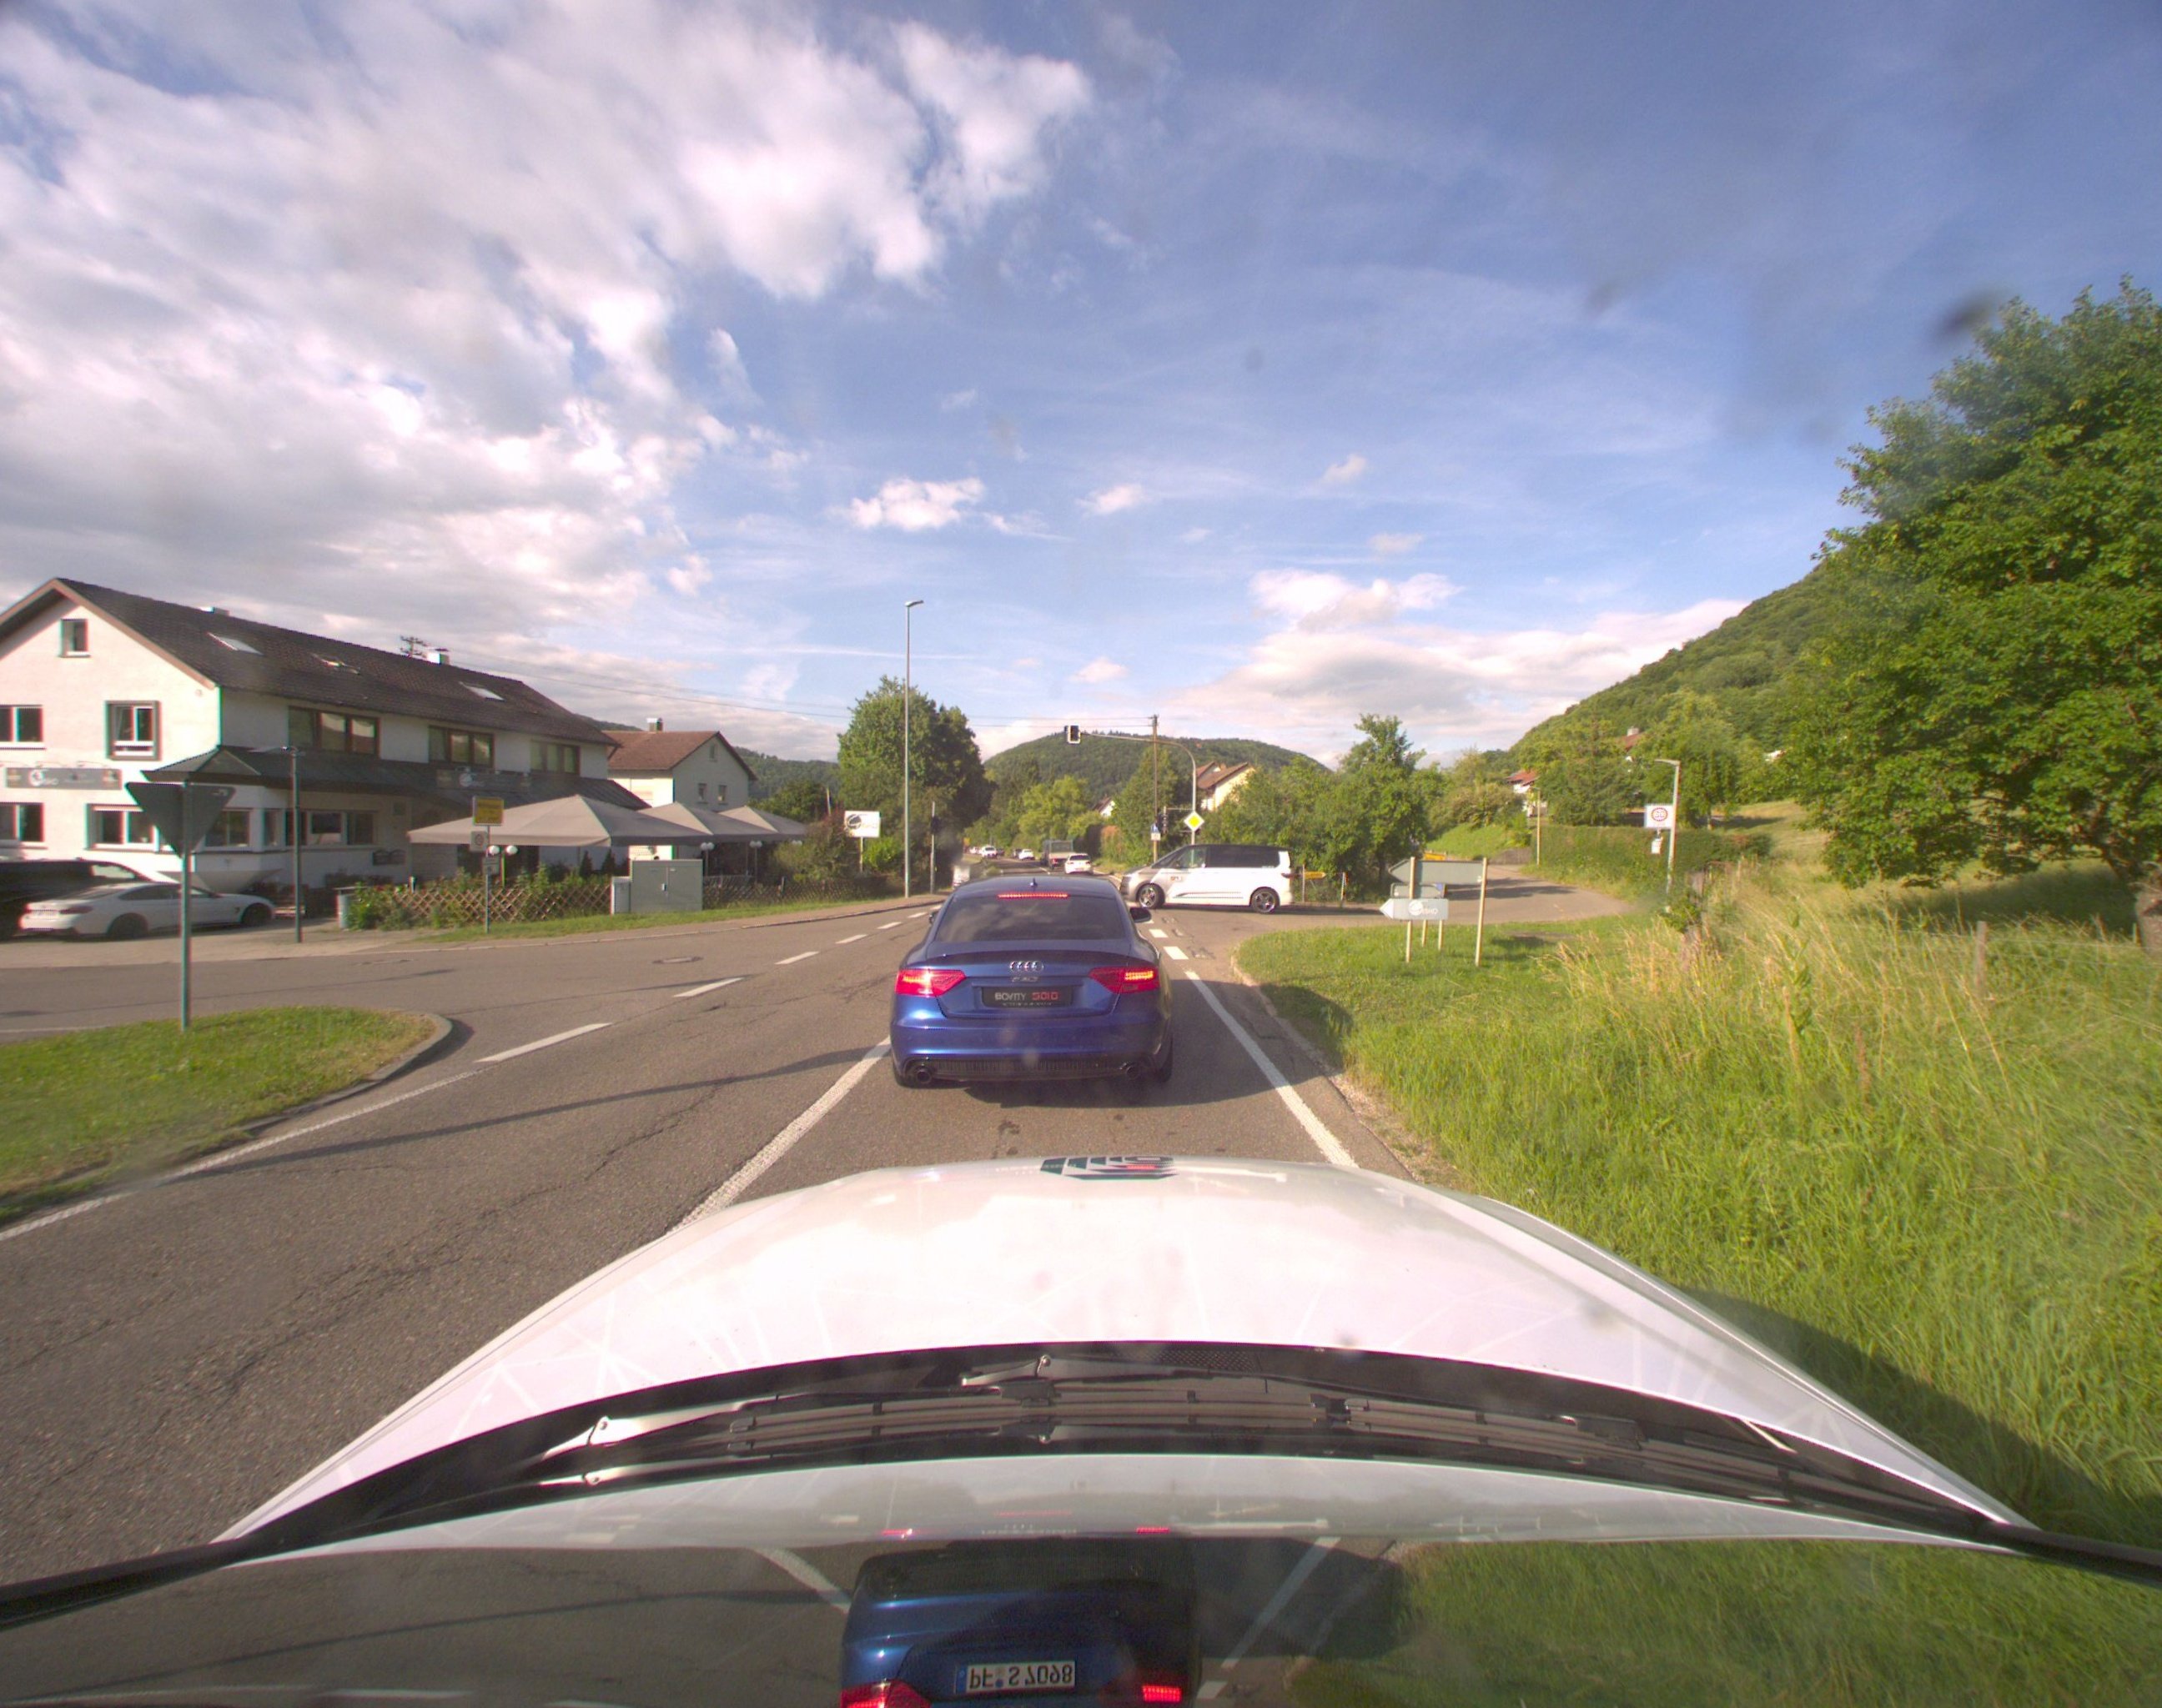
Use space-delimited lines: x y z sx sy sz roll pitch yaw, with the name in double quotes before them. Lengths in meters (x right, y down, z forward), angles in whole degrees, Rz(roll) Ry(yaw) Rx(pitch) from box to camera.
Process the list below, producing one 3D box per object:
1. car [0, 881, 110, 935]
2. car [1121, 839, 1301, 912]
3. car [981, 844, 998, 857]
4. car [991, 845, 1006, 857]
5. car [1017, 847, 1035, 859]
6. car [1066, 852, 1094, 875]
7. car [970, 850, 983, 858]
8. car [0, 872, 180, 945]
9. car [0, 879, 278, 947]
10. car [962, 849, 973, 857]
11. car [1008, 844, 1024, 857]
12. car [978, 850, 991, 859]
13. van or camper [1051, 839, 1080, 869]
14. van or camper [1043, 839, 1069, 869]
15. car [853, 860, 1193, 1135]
"car" -30.398 1.538 22.261 1.984 1.389 4.582 -2 0 5
"car" 3.661 0.560 23.241 4.828 1.876 2.005 1 1 8
"car" -13.821 -0.516 122.429 1.995 1.903 5.232 -2 1 -11
"car" -14.168 -0.450 139.923 1.995 2.013 3.983 -1 1 -12
"car" -7.304 -0.113 107.641 1.820 1.552 3.984 -1 1 -12
"car" -0.051 0.607 52.766 1.765 1.415 4.174 1 0 0
"car" -21.298 -0.015 166.043 1.946 1.424 3.978 -1 1 -16
"car" -27.329 1.400 21.400 1.984 1.685 4.582 -2 0 5
"car" -24.639 1.464 21.564 1.984 1.389 4.582 -2 0 5
"car" -24.893 -0.212 178.470 1.775 1.783 3.979 -1 0 -15
"car" -9.584 -0.465 119.225 1.798 1.794 3.983 -1 0 -12
"car" -18.589 0.116 157.259 1.945 1.684 3.980 -2 0 -15
"van or camper" -1.369 -0.019 70.117 2.176 2.385 5.362 -1 0 -4
"van or camper" -2.599 -0.012 83.843 2.410 2.904 6.122 -1 0 -4
"car" -0.303 0.799 6.580 1.824 1.409 4.226 -2 0 0
